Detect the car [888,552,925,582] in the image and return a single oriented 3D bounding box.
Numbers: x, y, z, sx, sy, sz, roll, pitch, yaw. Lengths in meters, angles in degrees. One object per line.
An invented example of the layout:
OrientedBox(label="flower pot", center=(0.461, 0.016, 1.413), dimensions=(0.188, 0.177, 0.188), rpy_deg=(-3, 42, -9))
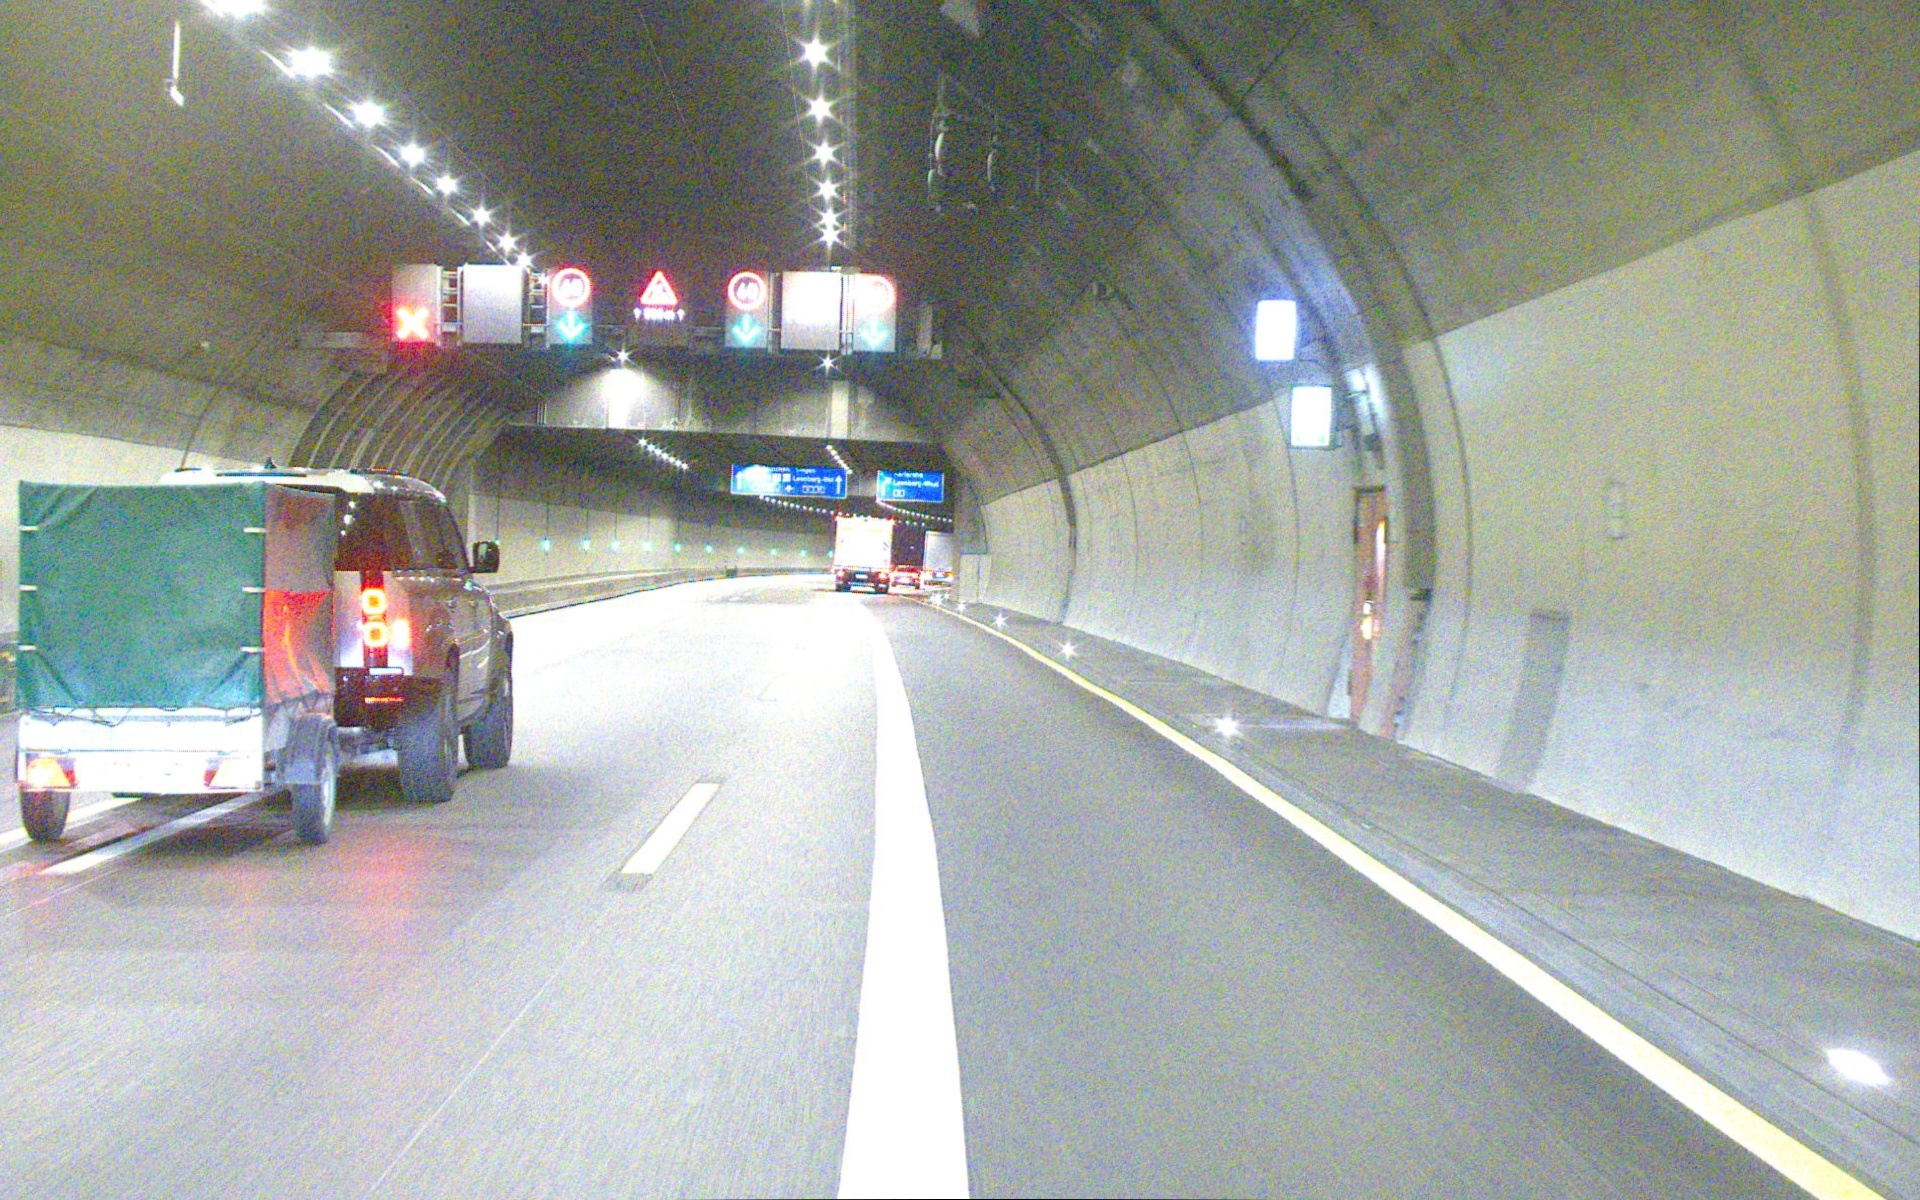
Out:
OrientedBox(label="car", center=(-3.418, -2.147, 222.290), dimensions=(1.994, 1.888, 5.532), rpy_deg=(0, 1, 3))

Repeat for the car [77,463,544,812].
OrientedBox(label="car", center=(-3.913, 0.150, 21.691), dimensions=(1.993, 1.888, 5.454), rpy_deg=(1, 1, -1))

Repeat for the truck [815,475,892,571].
OrientedBox(label="truck", center=(-5.056, -3.646, 161.526), dimensions=(3.474, 4.301, 10.953), rpy_deg=(0, 1, -2))

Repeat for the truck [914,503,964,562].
OrientedBox(label="truck", center=(-1.640, -5.137, 260.724), dimensions=(3.474, 4.301, 10.953), rpy_deg=(-1, 1, -2))
